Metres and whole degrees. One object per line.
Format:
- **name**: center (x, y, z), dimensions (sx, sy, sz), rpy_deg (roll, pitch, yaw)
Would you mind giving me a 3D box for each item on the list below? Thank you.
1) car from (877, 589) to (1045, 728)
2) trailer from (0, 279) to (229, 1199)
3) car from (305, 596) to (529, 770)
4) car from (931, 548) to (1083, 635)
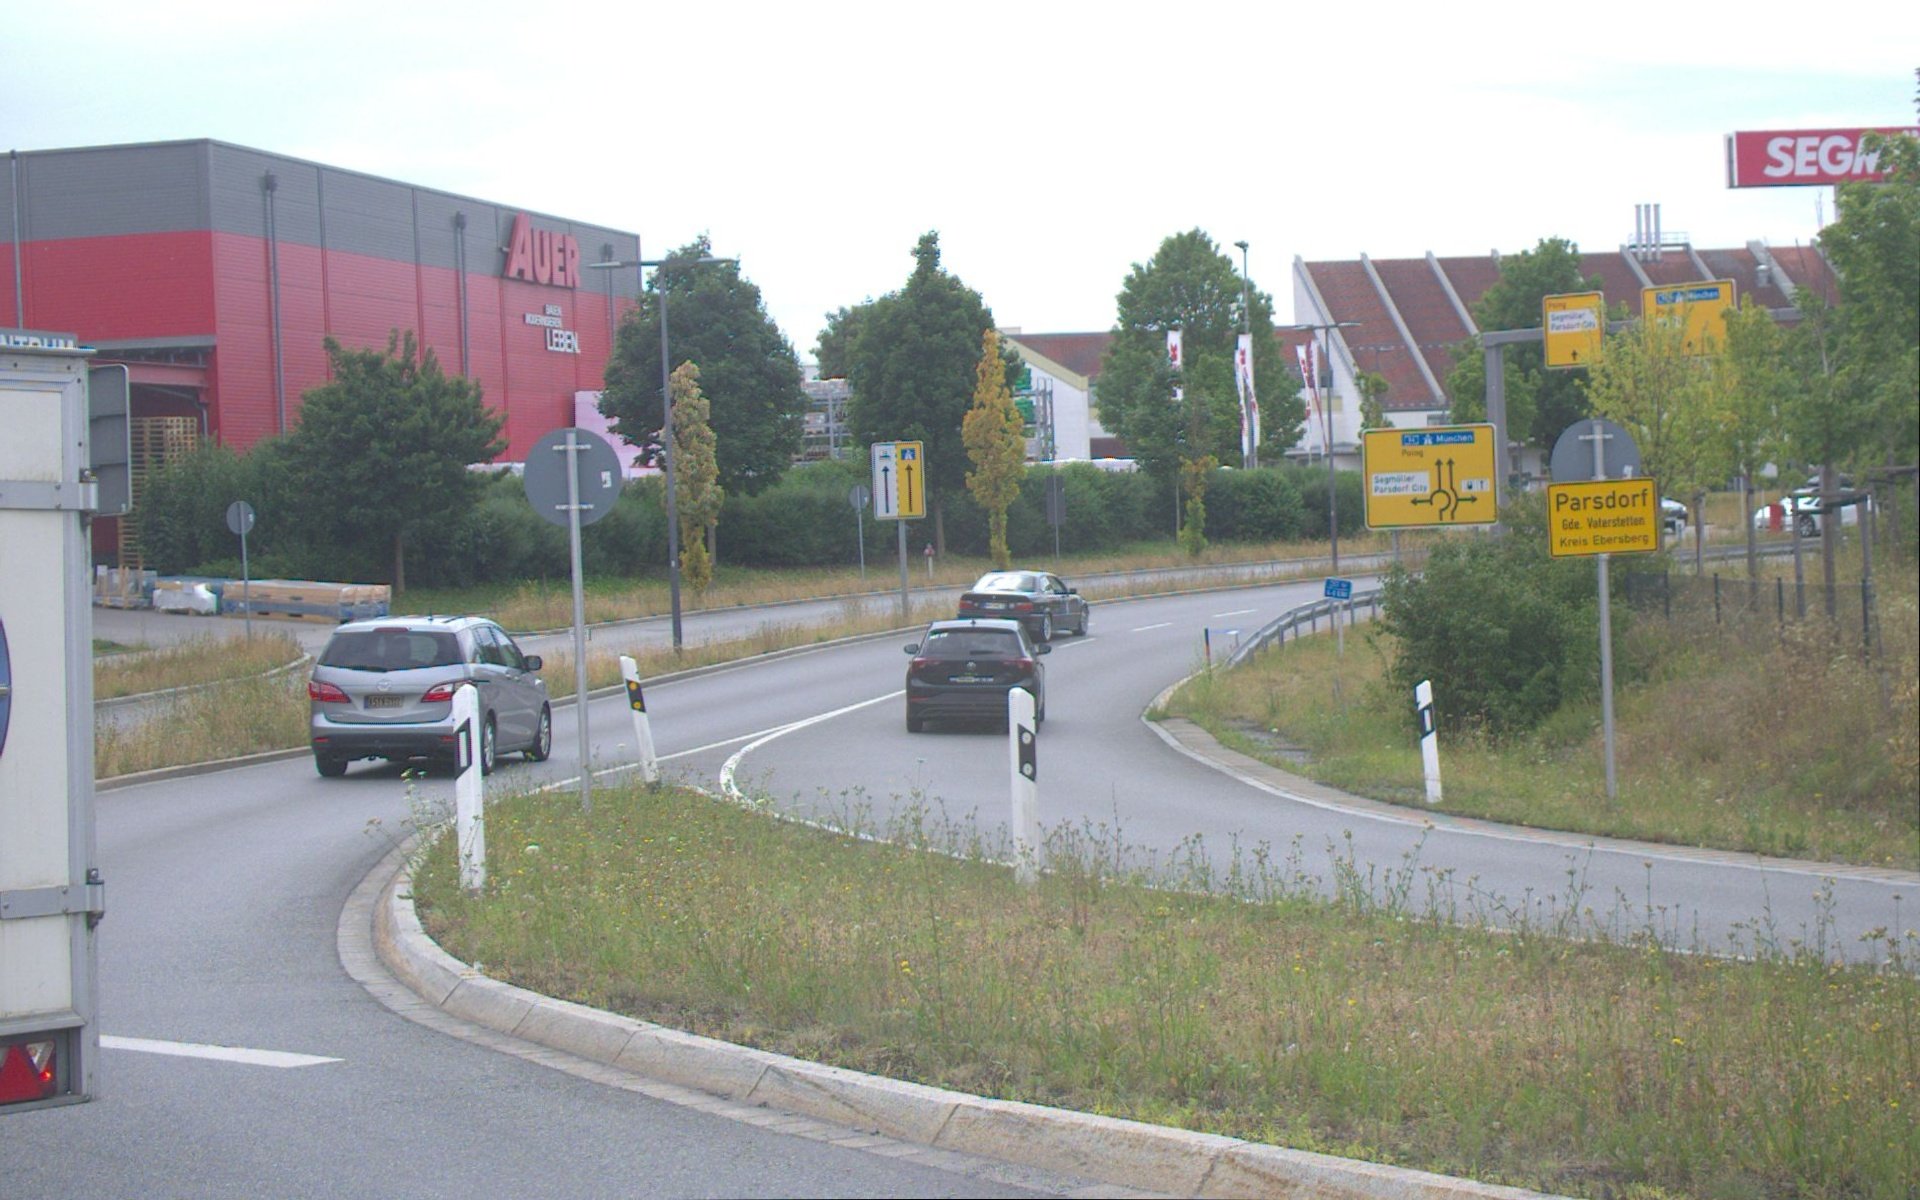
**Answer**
- **car**: center (0.060, 0.724, 44.809), dimensions (1.869, 1.599, 3.734), rpy_deg (-2, 1, 4)
- **trailer**: center (-3.927, 0.370, 8.655), dimensions (4.141, 2.084, 1.808), rpy_deg (-1, 1, 38)
- **car**: center (-5.532, 0.803, 35.426), dimensions (1.767, 1.611, 3.922), rpy_deg (-2, 0, -2)
- **car**: center (0.952, -0.174, 66.764), dimensions (1.908, 1.612, 3.997), rpy_deg (-1, 0, 17)
